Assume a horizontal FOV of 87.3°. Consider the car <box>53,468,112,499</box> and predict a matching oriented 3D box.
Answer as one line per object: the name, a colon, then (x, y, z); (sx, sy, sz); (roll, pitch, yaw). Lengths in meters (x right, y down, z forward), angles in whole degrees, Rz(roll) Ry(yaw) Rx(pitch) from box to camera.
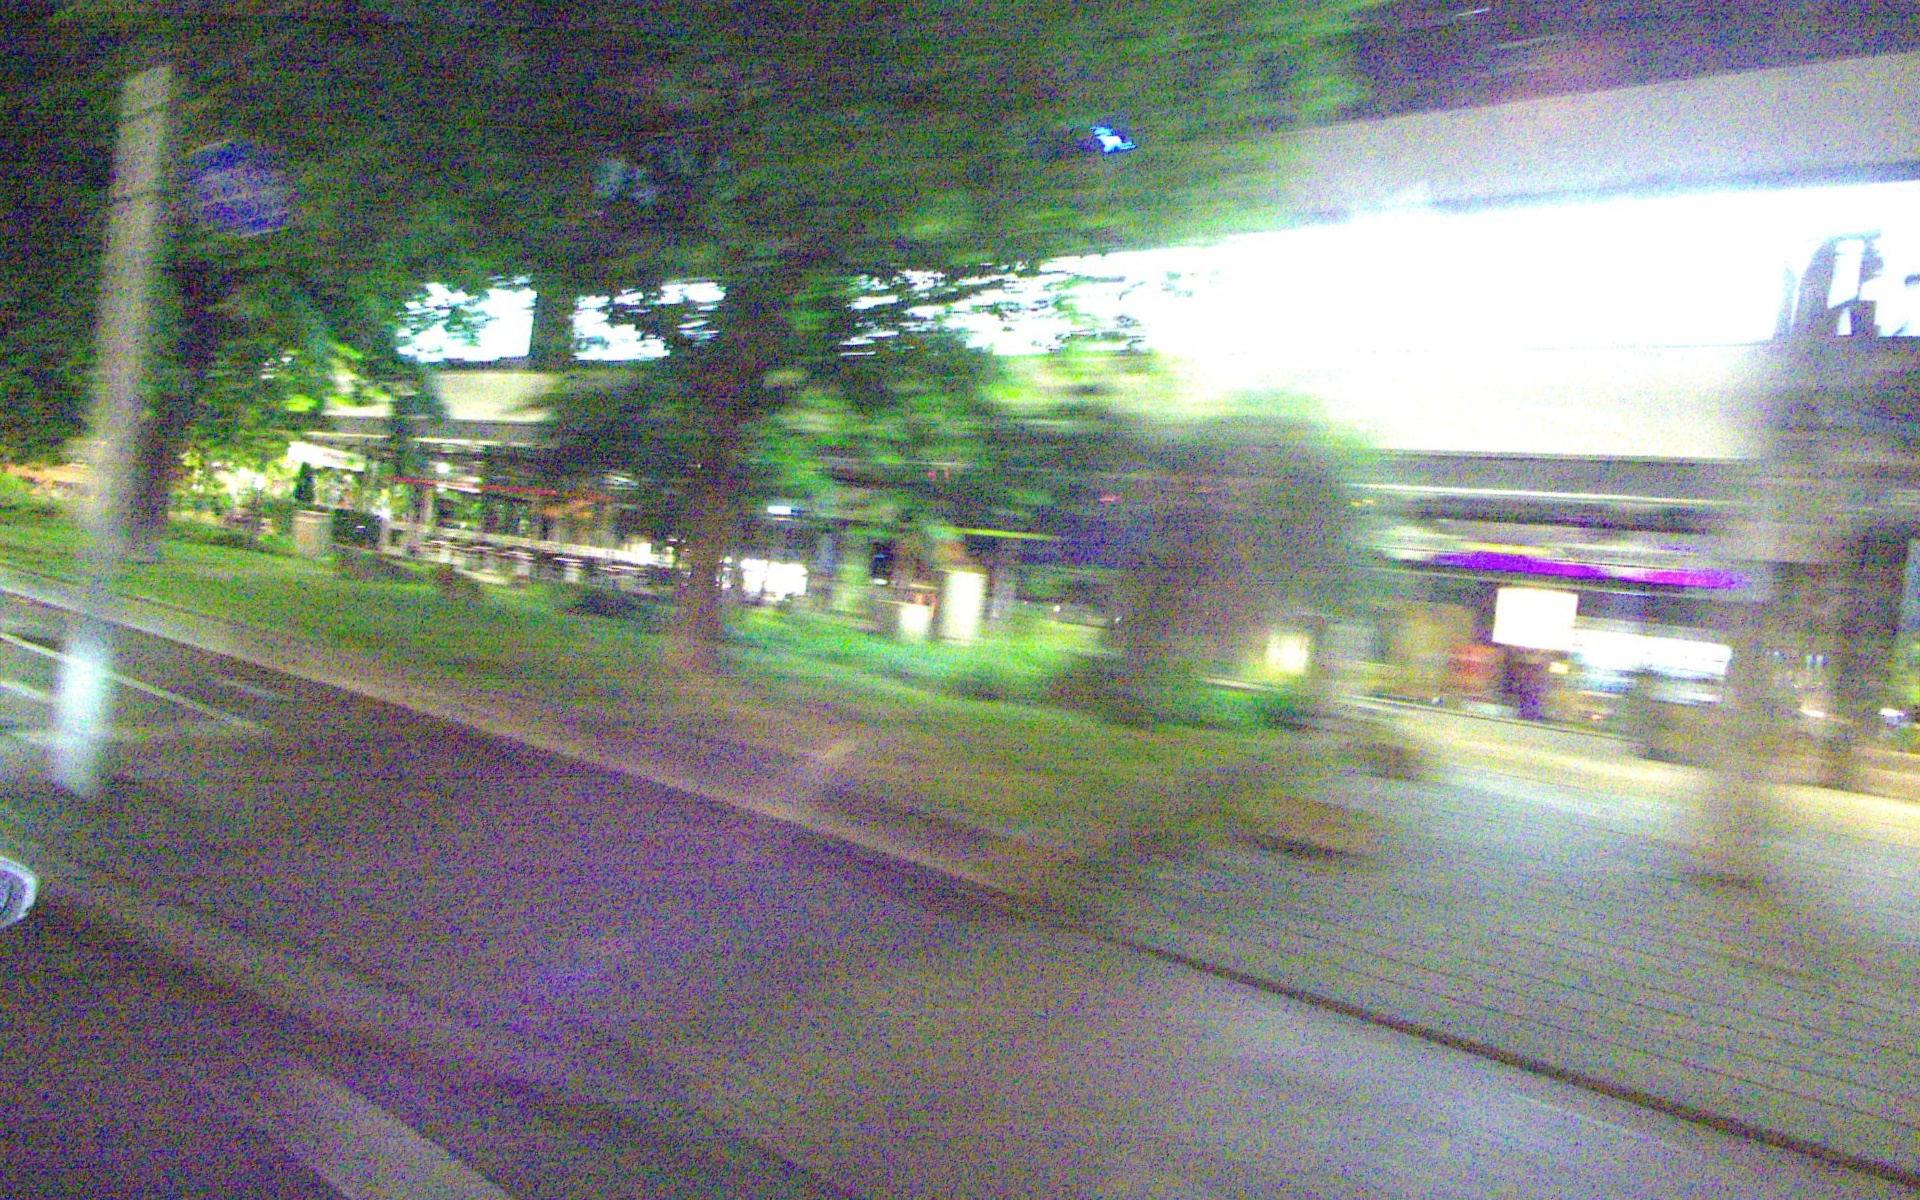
car: (-58.100, -7.740, 66.590); (4.030, 1.552, 1.770); (8, 1, 31)
